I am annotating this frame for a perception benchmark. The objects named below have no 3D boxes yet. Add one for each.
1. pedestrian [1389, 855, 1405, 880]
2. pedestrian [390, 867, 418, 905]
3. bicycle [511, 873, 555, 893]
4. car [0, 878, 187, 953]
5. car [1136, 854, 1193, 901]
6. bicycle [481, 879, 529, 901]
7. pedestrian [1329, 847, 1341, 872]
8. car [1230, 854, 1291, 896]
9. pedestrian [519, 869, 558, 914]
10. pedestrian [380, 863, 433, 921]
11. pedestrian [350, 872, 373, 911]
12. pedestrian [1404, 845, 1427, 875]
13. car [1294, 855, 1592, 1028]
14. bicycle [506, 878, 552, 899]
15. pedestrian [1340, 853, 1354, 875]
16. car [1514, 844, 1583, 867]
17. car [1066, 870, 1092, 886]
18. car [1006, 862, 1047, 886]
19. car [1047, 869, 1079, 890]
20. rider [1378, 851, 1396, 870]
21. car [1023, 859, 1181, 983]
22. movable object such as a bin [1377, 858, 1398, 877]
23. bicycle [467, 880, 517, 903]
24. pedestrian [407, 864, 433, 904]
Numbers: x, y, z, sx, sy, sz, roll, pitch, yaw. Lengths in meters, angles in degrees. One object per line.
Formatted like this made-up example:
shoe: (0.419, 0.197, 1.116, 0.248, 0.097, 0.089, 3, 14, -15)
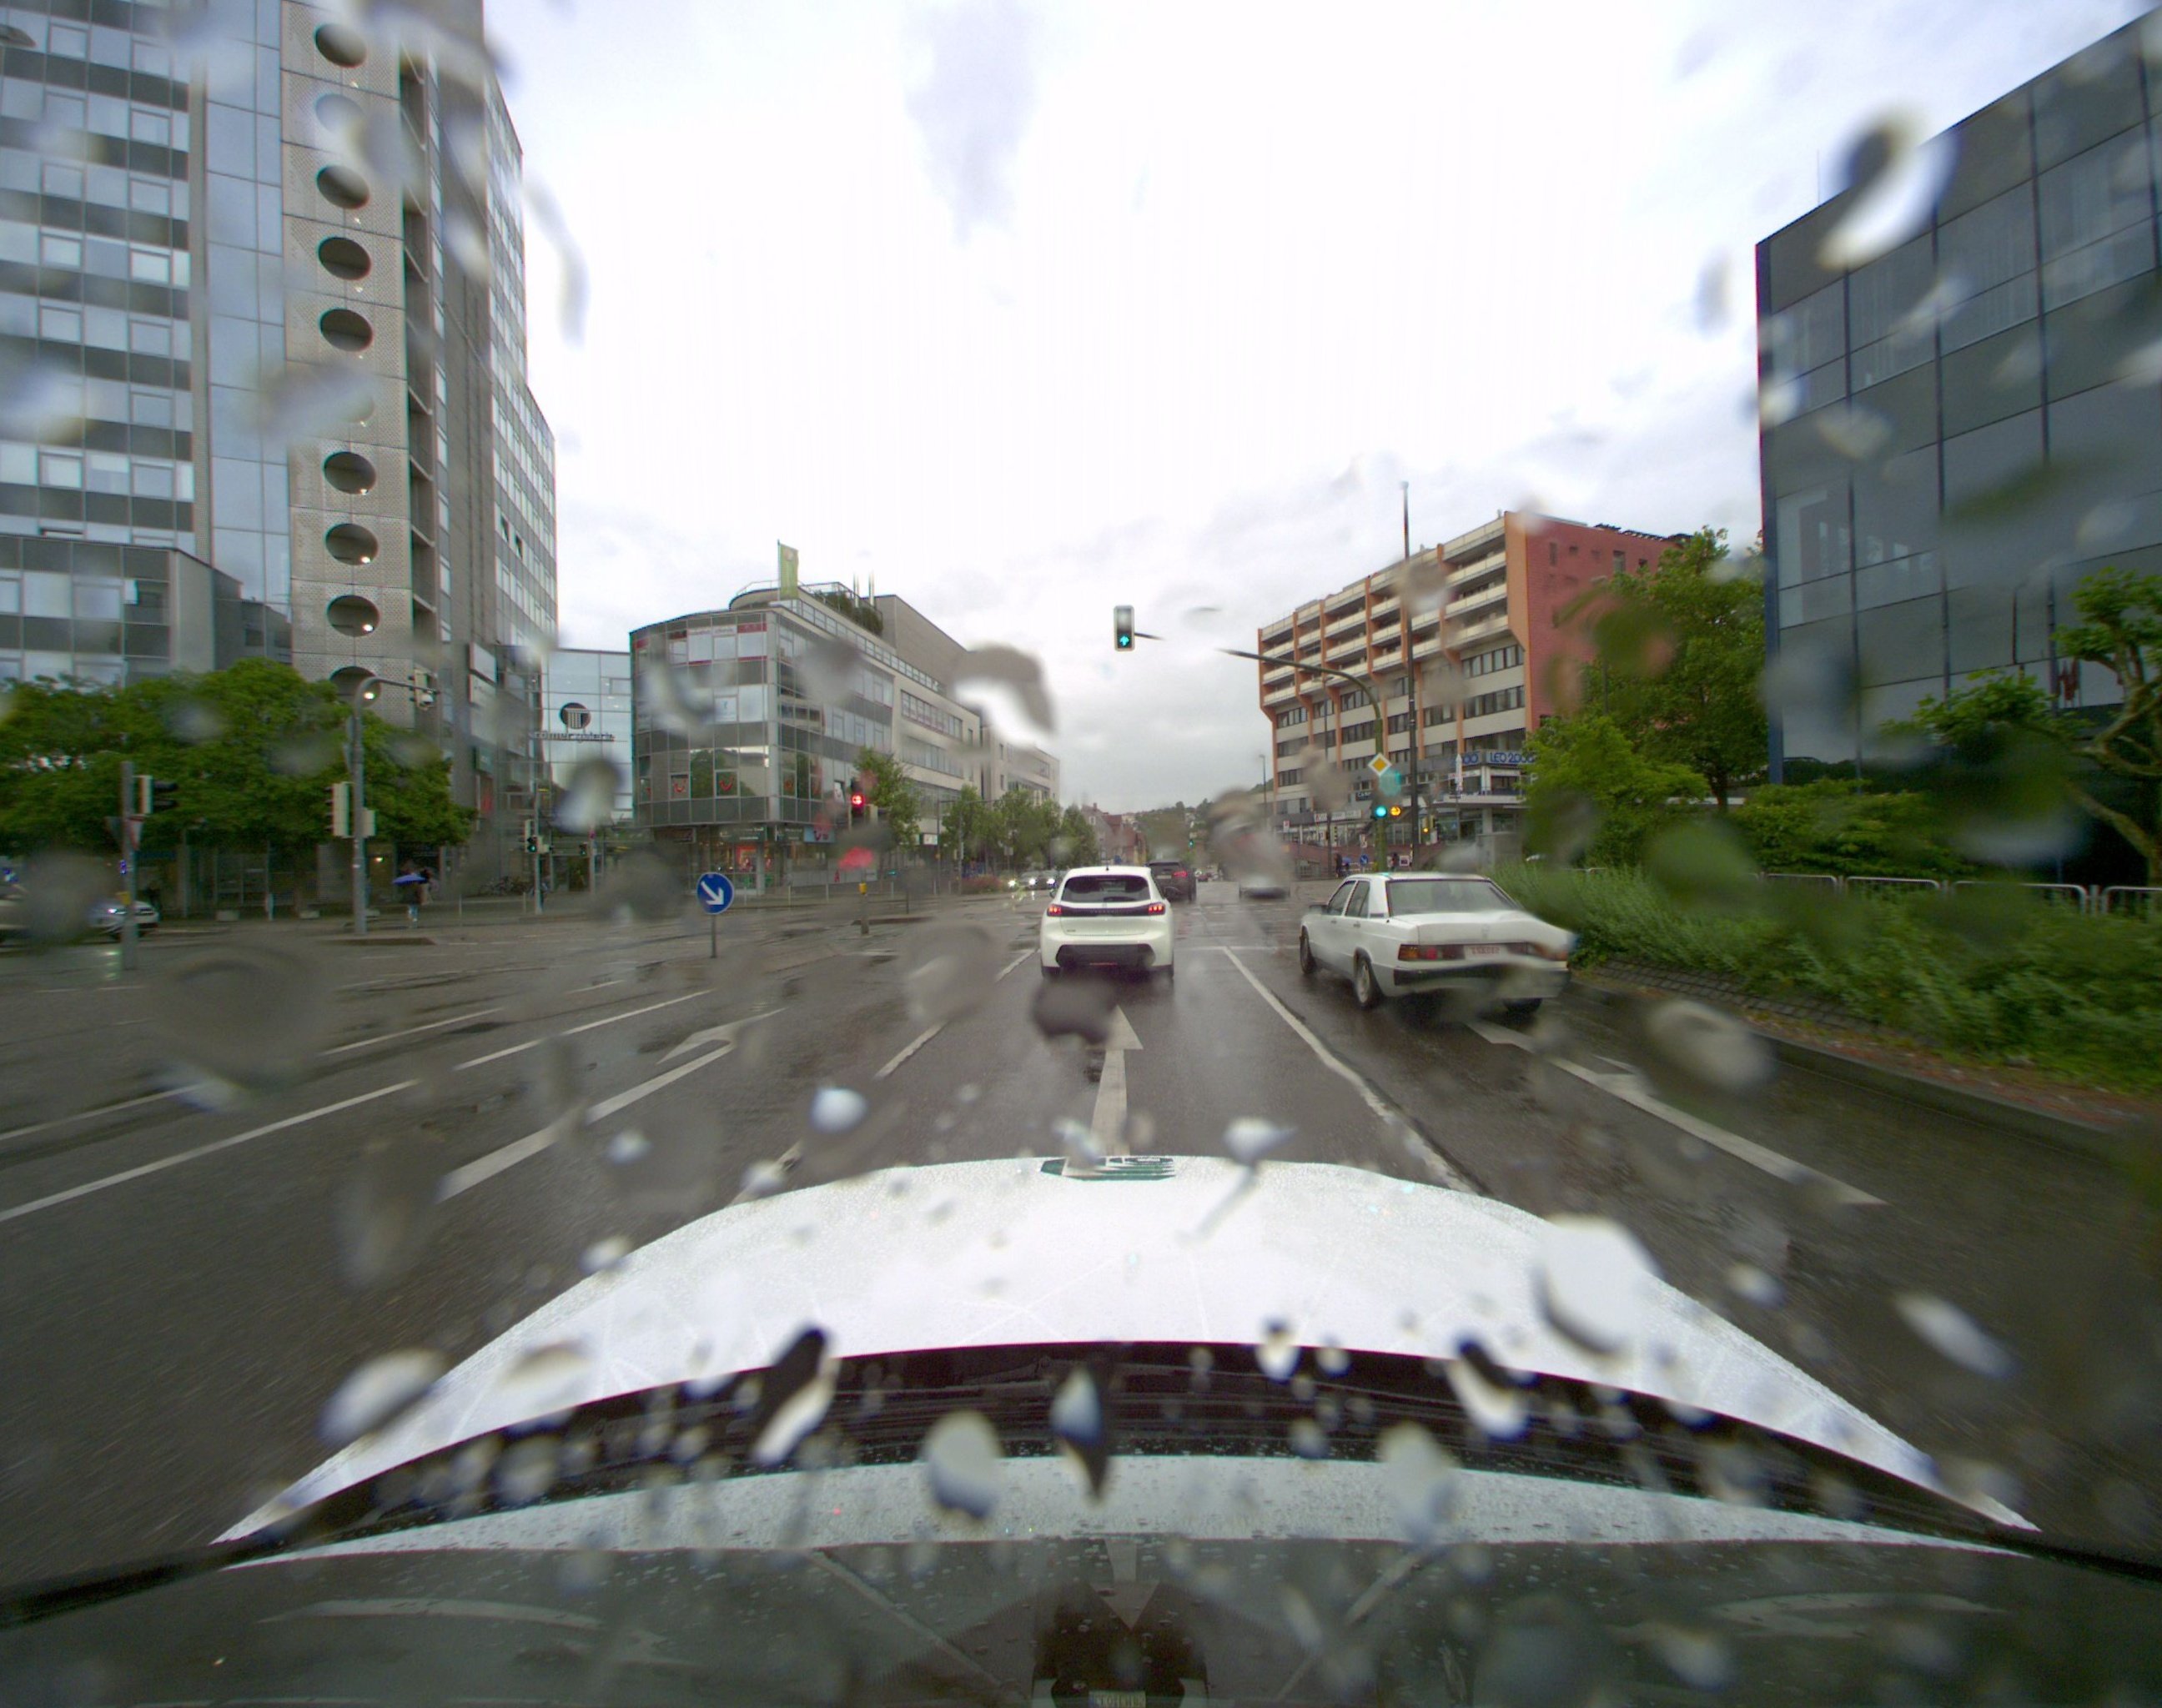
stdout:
pedestrian: (21.953, 0.939, 56.618, 0.789, 1.668, 0.933, -2, -1, 7)
pedestrian: (-34.558, 1.618, 41.566, 0.823, 1.868, 0.758, -2, -1, 25)
bicycle: (-35.880, 1.879, 53.328, 2.283, 1.247, 0.671, -1, -1, -23)
car: (-24.506, 1.424, 19.226, 4.199, 1.595, 1.860, -1, 0, -15)
car: (2.971, 0.801, 28.971, 1.806, 1.530, 3.818, -2, -1, 6)
bicycle: (-34.866, 2.196, 49.306, 2.282, 1.247, 0.671, -1, -1, -22)
pedestrian: (16.260, 0.340, 52.159, 0.702, 1.607, 0.658, -1, -1, 14)
car: (6.418, 0.739, 29.443, 1.900, 1.400, 3.466, -1, -1, 8)
pedestrian: (-22.717, 1.562, 34.138, 0.840, 1.819, 1.027, -2, -1, 11)
pedestrian: (-24.201, 1.341, 29.252, 1.168, 2.014, 1.316, -1, -1, -28)
pedestrian: (-35.774, 1.867, 40.502, 0.823, 1.868, 0.758, -2, -1, 42)
pedestrian: (19.337, 0.327, 47.076, 0.826, 1.691, 1.128, -2, -1, -2)
car: (3.610, 0.777, 9.019, 1.627, 1.448, 4.272, 0, -1, 3)
bicycle: (-34.910, 2.193, 51.567, 2.283, 1.247, 0.671, -1, -1, -23)
pedestrian: (17.248, 0.652, 52.820, 0.703, 1.346, 0.658, -3, -2, 13)
car: (32.389, 0.092, 56.431, 4.802, 1.406, 1.796, -2, -2, -28)
car: (-0.190, 2.331, 79.072, 1.715, 1.388, 4.611, -3, -2, 9)
car: (-3.828, 1.389, 58.366, 1.909, 1.632, 4.914, -1, 0, 8)
car: (-1.560, 2.252, 72.699, 1.763, 1.594, 4.601, -6, -2, 10)
rider: (22.201, 0.483, 59.065, 0.917, 1.284, 1.093, -5, 0, 9)
car: (0.427, 0.807, 11.584, 1.863, 1.462, 3.879, -1, 0, 5)
movable object such as a bin: (22.229, 0.988, 59.042, 1.123, 1.332, 1.458, -1, -4, 9)
bicycle: (-34.820, 2.213, 48.204, 2.283, 1.247, 0.671, -1, -1, -23)
pedestrian: (-33.481, 1.498, 41.269, 0.711, 2.014, 0.763, -1, -1, -7)
